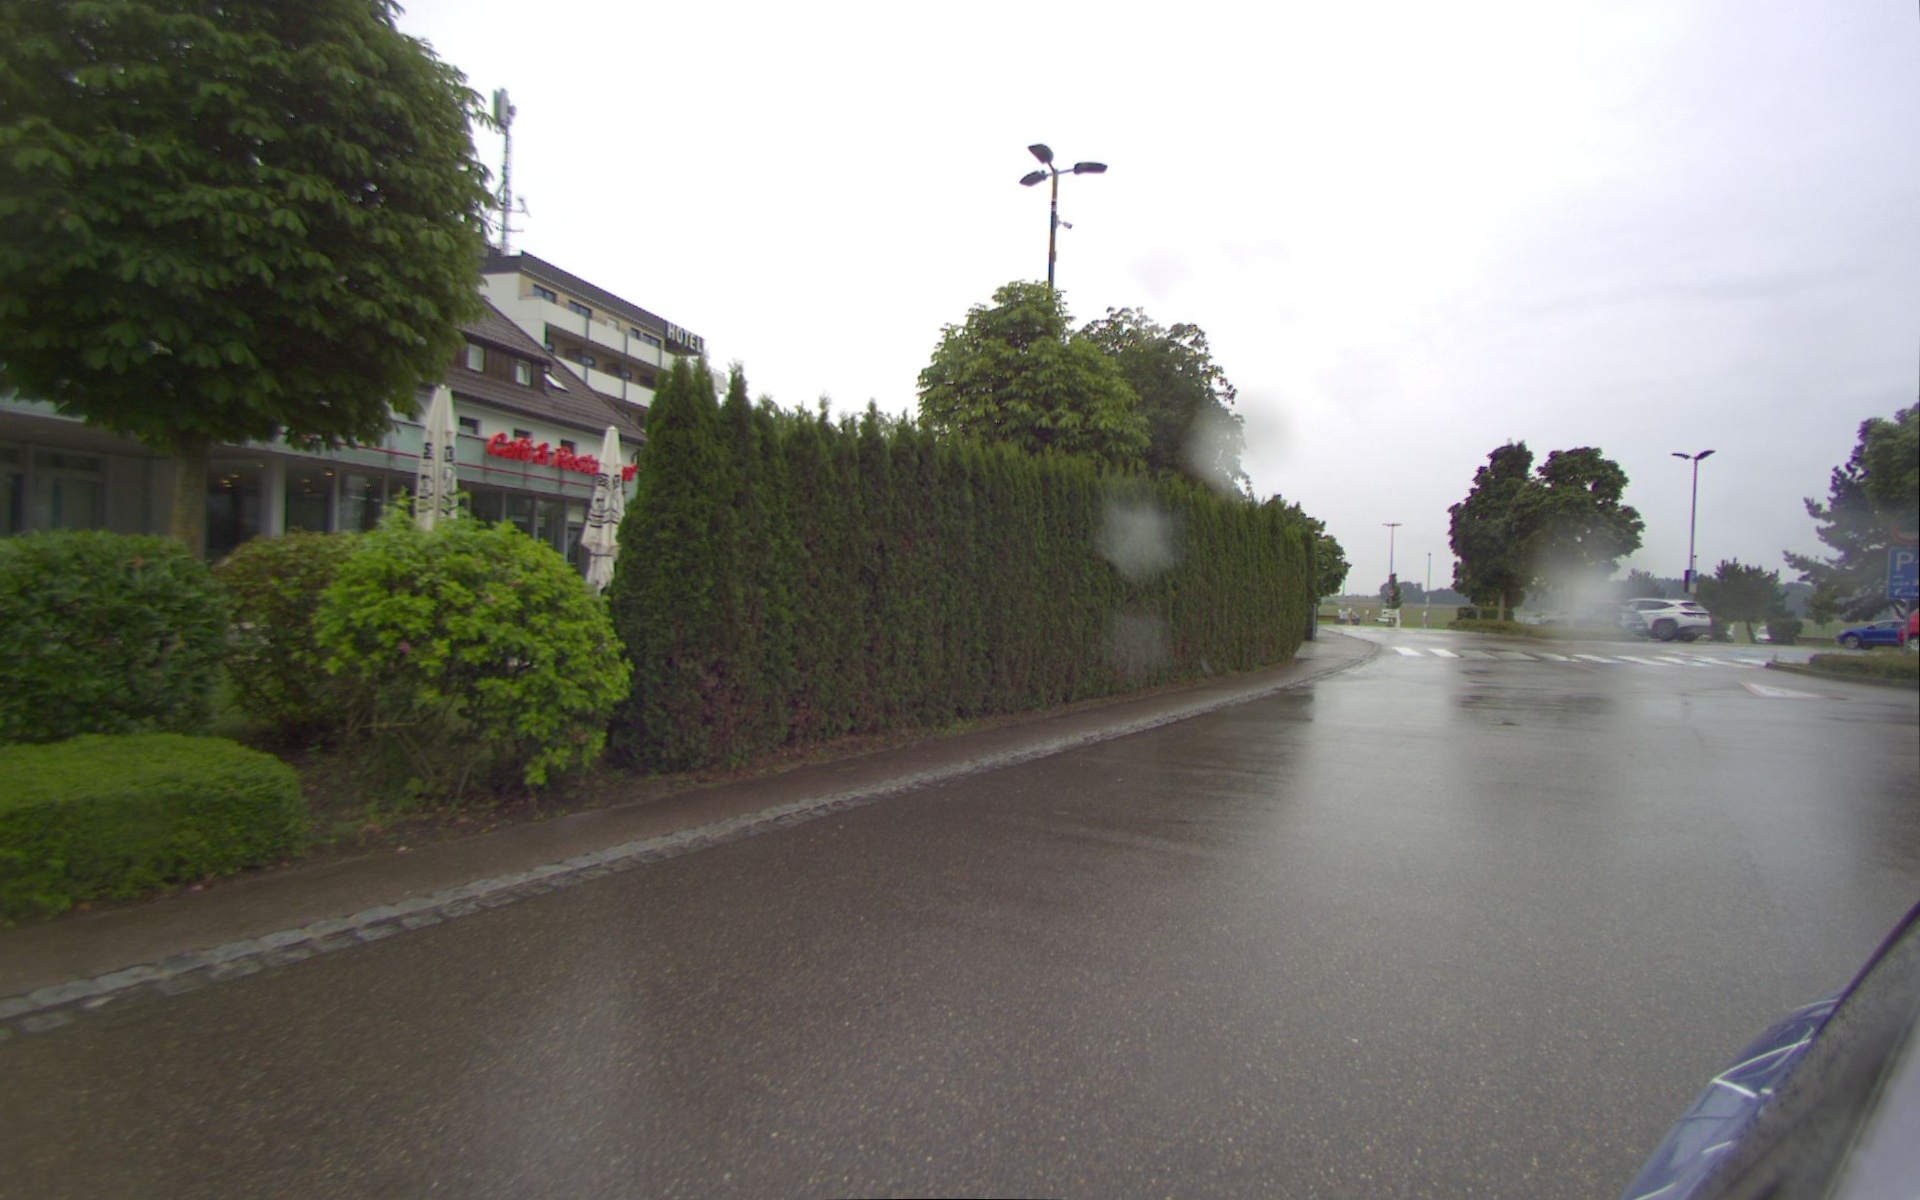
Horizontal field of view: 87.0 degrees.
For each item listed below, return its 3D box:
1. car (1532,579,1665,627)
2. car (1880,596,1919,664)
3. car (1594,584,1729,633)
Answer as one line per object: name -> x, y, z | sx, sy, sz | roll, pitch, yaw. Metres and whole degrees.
car -> 24.694, 0.071, 39.319 | 1.762, 1.714, 4.057 | 0, 2, -23
car -> 28.705, 0.908, 27.985 | 1.886, 1.908, 4.408 | 0, 2, -28
car -> 27.725, 0.295, 40.143 | 1.677, 1.714, 4.057 | 0, 2, -25
